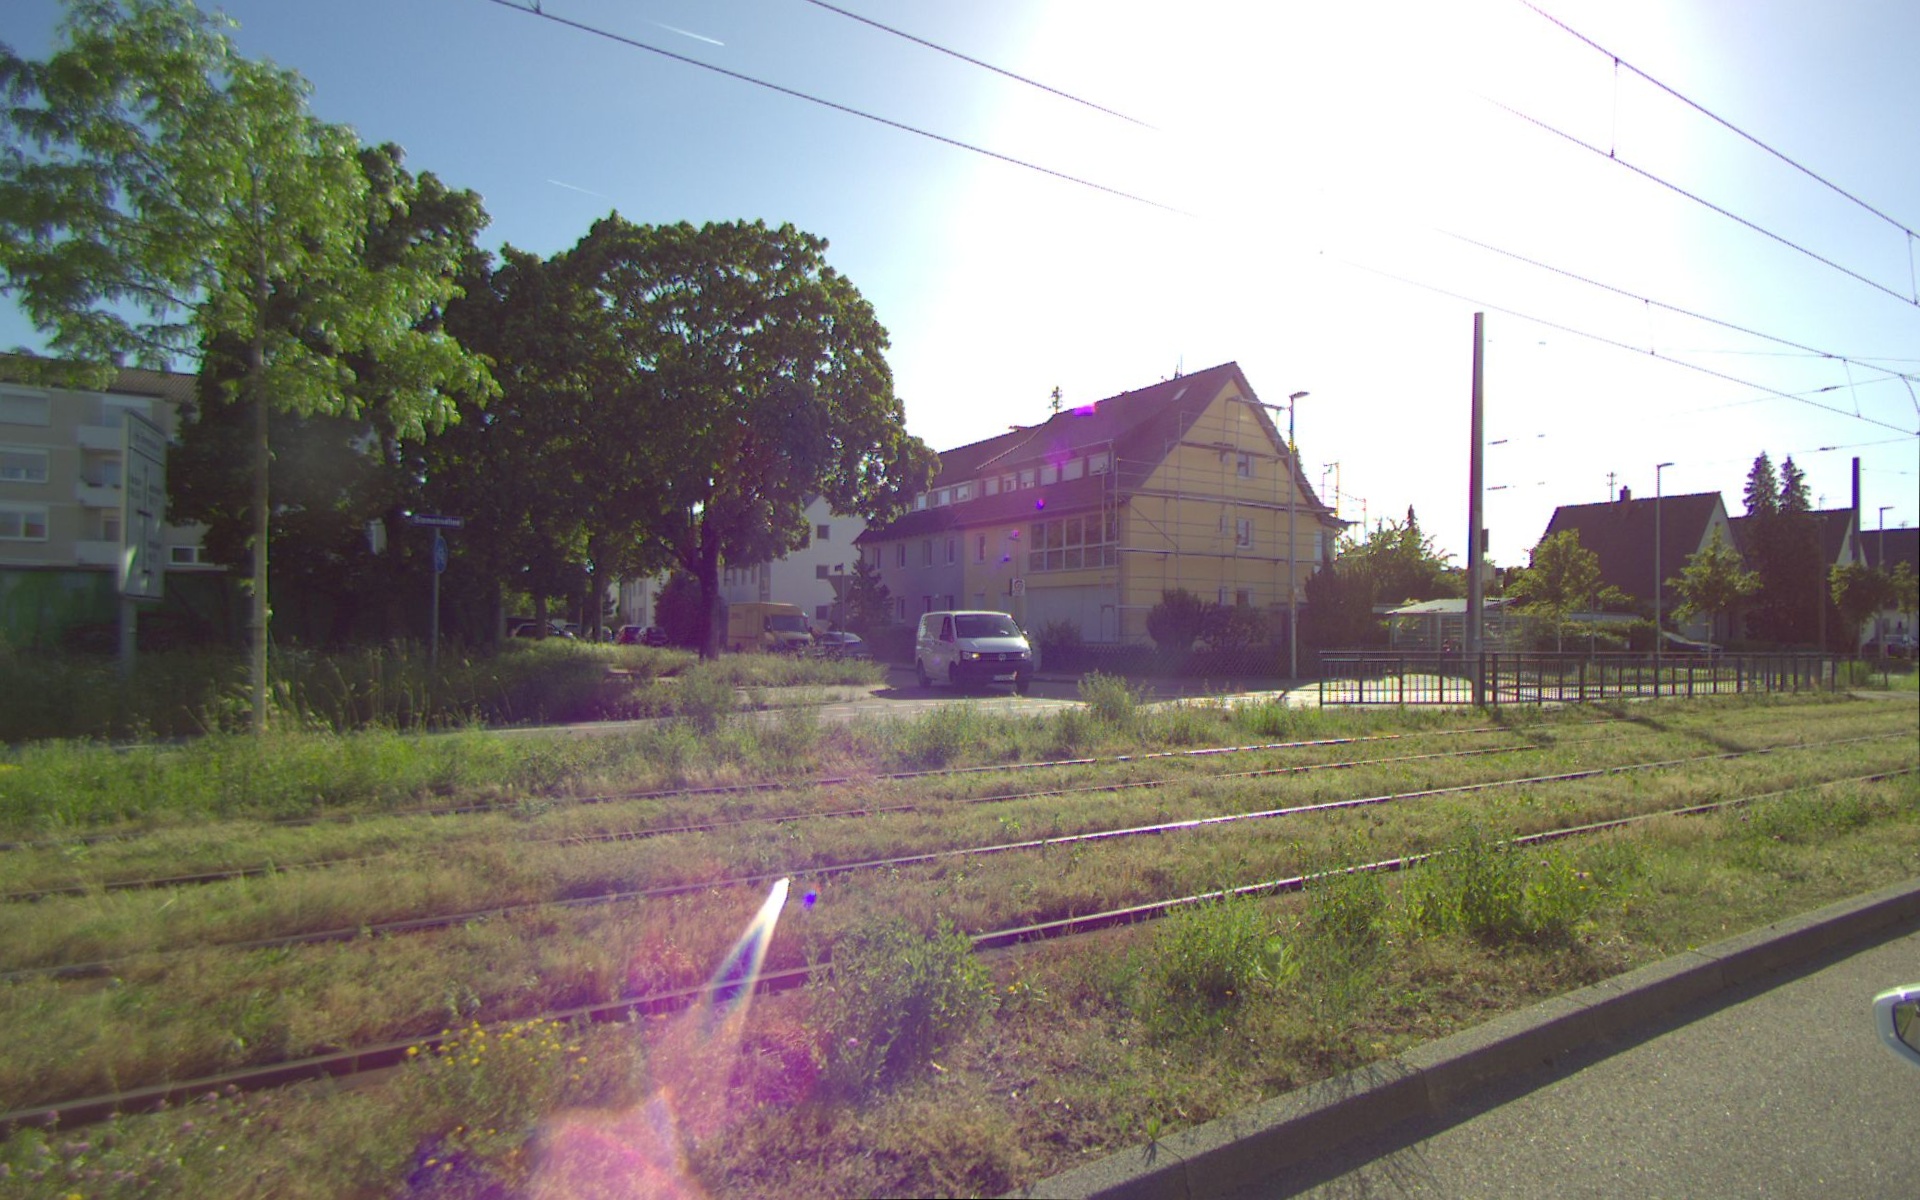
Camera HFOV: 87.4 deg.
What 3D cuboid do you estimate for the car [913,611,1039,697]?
[{"bbox_3d":[0.271,1.289,25.044,1.872,1.940,4.687,1,-2,-16],"label":"car"}]

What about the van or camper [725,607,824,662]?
[{"bbox_3d":[-8.944,1.565,47.872,2.089,2.380,7.191,2,0,-32],"label":"van or camper"}]

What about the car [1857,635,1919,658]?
[{"bbox_3d":[60.871,3.025,65.675,5.104,1.469,1.924,2,-2,-32],"label":"car"}]

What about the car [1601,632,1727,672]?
[{"bbox_3d":[32.775,2.387,46.836,2.038,1.757,4.499,2,-2,-42],"label":"car"}]

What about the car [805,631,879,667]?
[{"bbox_3d":[-4.817,1.966,40.576,1.543,1.364,3.710,2,-2,-32],"label":"car"}]

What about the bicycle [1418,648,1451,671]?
[{"bbox_3d":[17.553,2.196,37.137,1.492,0.832,0.309,2,0,-32],"label":"bicycle"}]

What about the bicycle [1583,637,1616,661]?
[{"bbox_3d":[26.404,2.018,41.468,1.729,0.954,0.421,1,-2,-32],"label":"bicycle"}]

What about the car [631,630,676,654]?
[{"bbox_3d":[-20.713,2.813,67.897,1.860,1.570,3.963,1,-2,-34],"label":"car"}]

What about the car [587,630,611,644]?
[{"bbox_3d":[-30.304,3.091,84.350,1.226,1.140,2.942,1,-2,-33],"label":"car"}]

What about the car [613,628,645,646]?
[{"bbox_3d":[-24.021,2.663,72.848,1.395,1.267,3.257,1,-2,-33],"label":"car"}]

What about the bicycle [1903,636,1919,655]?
[{"bbox_3d":[69.950,3.311,73.040,0.698,1.383,1.974,2,-2,-37],"label":"bicycle"}]
